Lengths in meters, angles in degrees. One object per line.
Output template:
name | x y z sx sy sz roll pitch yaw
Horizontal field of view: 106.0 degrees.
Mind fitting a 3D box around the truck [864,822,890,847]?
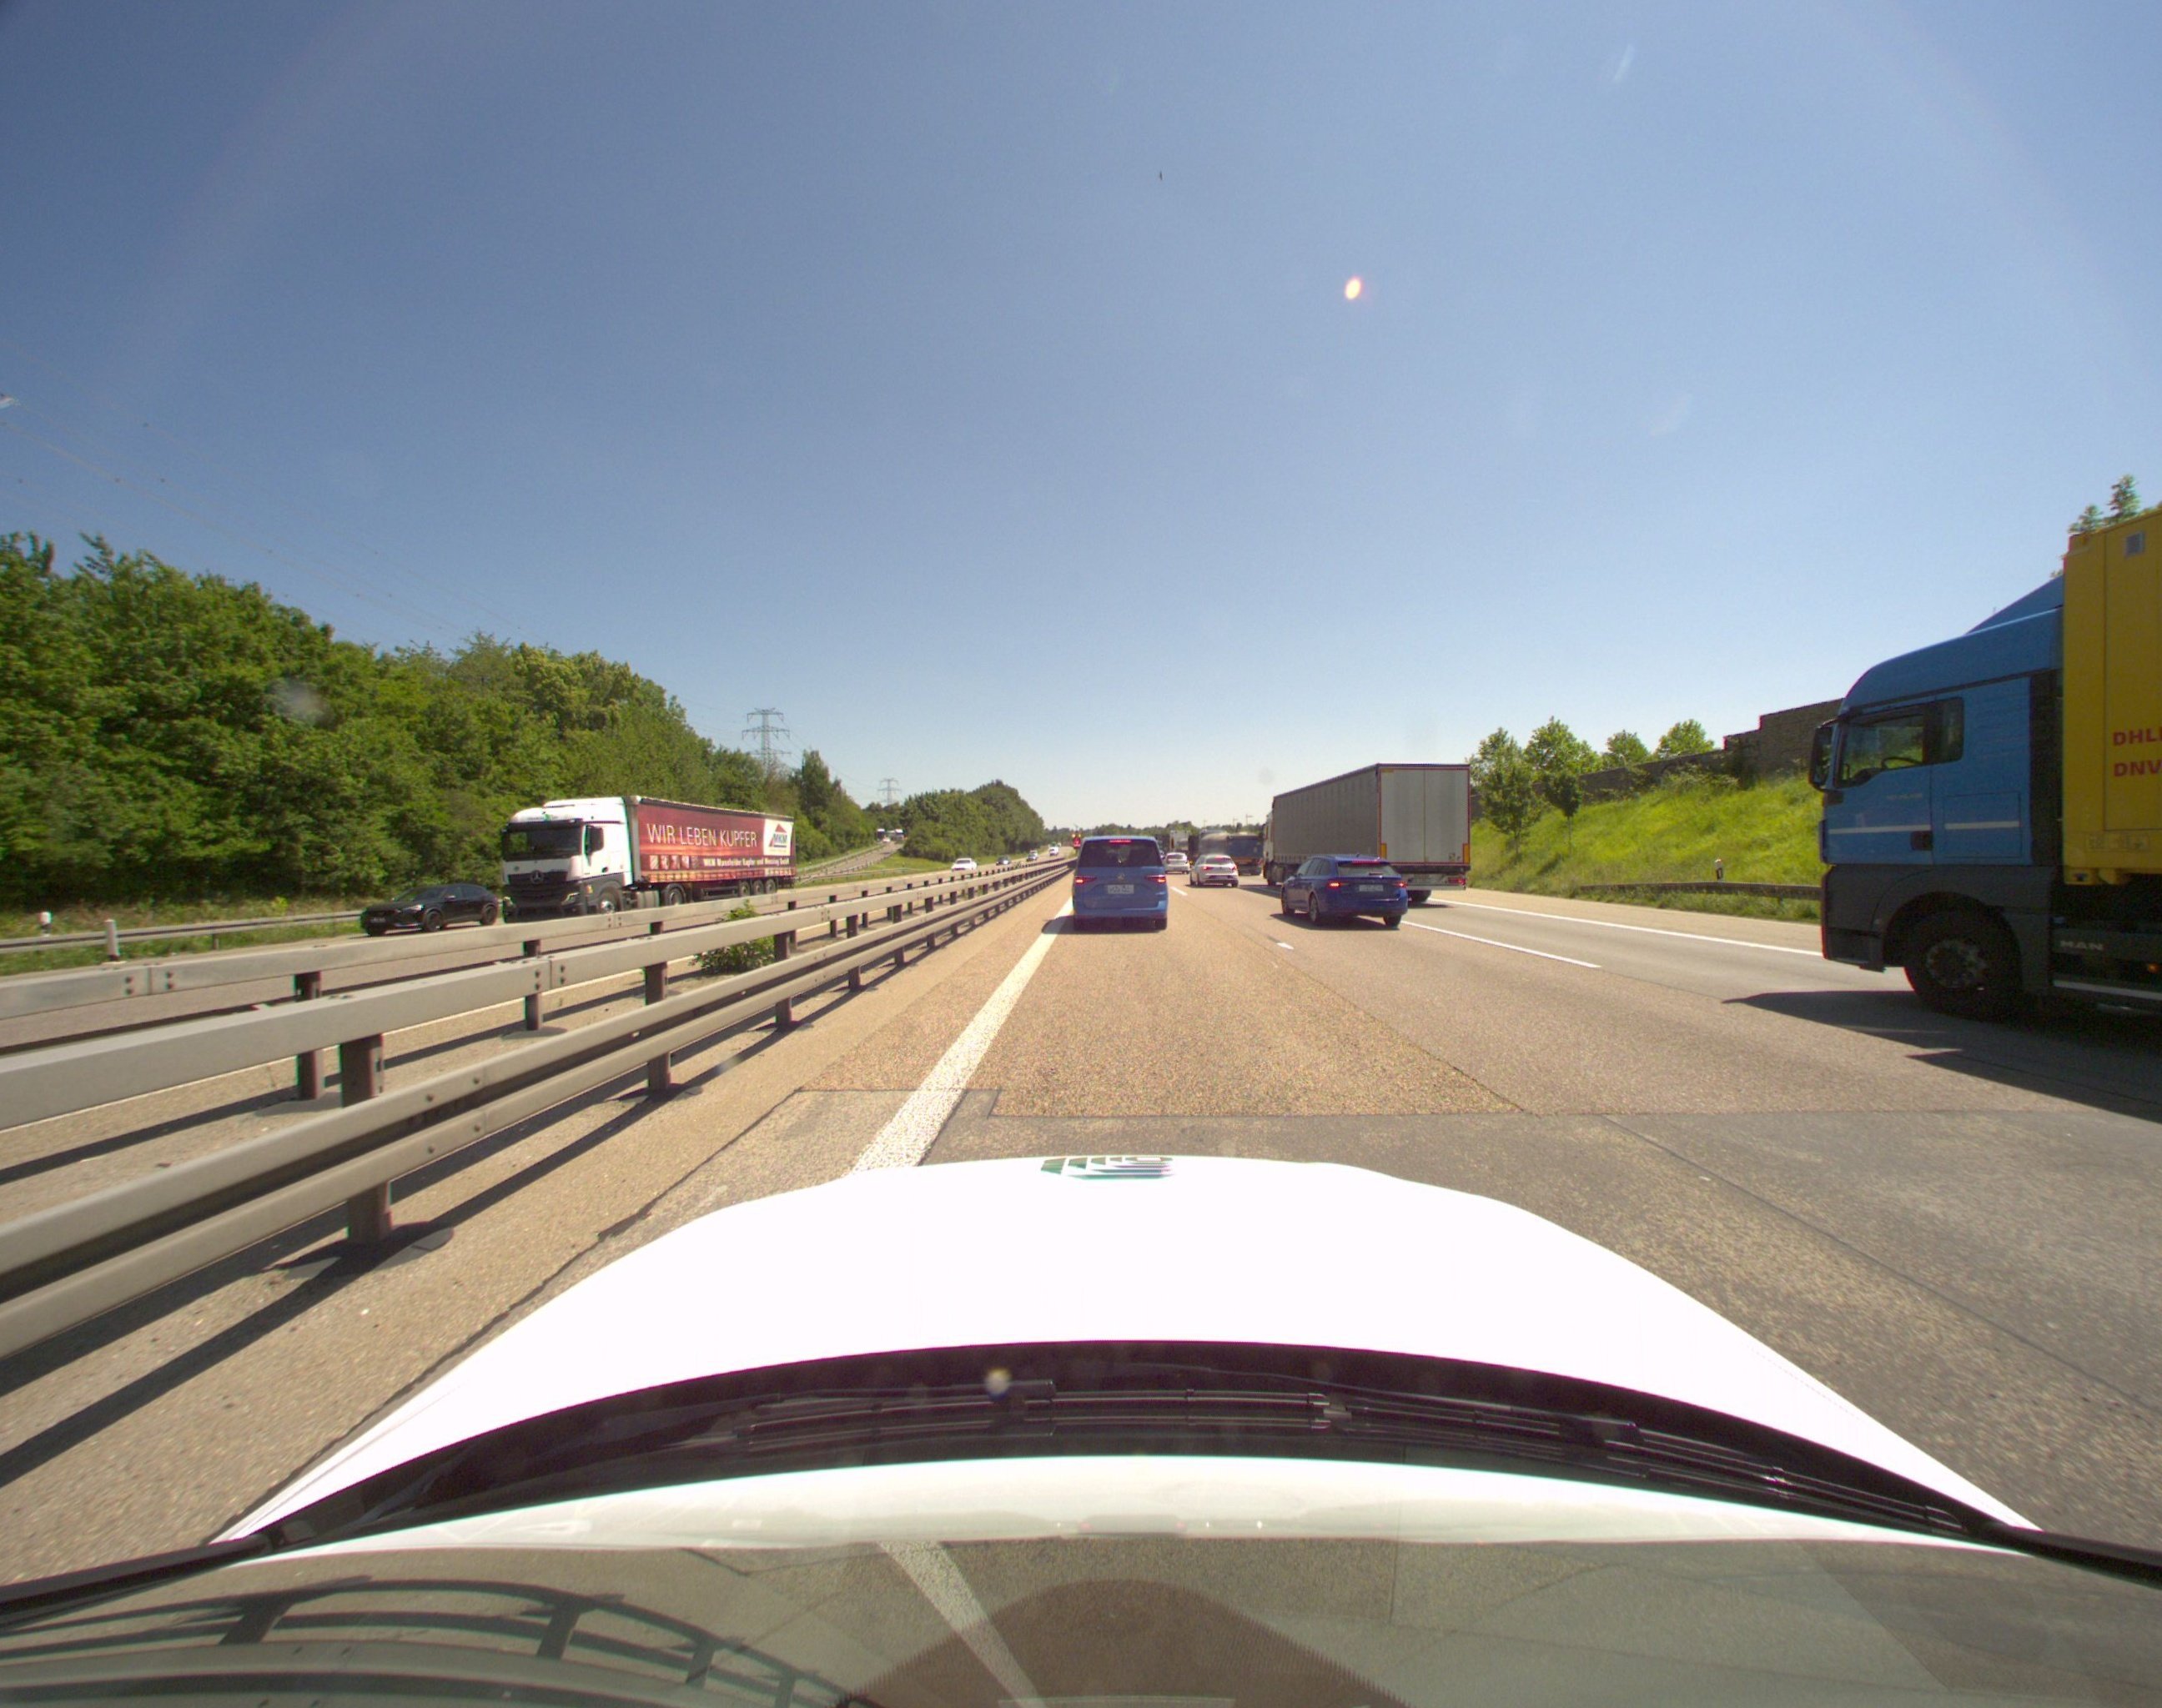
truck | -63.066 -6.052 251.557 4.699 7.228 13.514 1 -1 -29

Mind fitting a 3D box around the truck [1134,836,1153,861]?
truck | 12.341 -0.996 161.459 3.057 4.920 10.692 0 -1 1

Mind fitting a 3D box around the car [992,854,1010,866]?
car | -10.360 0.729 105.585 1.870 1.446 4.145 -3 -1 0

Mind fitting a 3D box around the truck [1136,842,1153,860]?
truck | 6.955 -0.317 89.268 1.719 1.857 4.001 0 -1 1

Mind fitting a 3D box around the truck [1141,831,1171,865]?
truck | 12.205 -0.817 133.713 3.609 5.213 15.686 0 -1 0

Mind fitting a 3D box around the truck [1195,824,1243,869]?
truck | 10.691 -0.576 63.546 2.733 3.311 7.136 0 1 2

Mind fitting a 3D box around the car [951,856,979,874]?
car | -10.410 0.990 73.282 1.844 1.467 4.304 -2 -1 0

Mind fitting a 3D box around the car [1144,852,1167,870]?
car | 6.419 0.599 70.425 1.774 1.524 4.001 0 -1 1

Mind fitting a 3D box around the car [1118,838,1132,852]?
car | 8.703 -1.818 162.326 2.541 2.717 5.622 0 -1 1

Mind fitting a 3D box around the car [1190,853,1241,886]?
car | 5.983 0.656 36.619 1.860 1.361 4.003 0 0 3

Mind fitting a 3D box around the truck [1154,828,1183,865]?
truck | 12.476 -0.978 116.265 3.646 5.180 5.709 0 -1 1

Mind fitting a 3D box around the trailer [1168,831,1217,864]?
trailer | 11.254 -0.540 84.160 3.632 3.079 15.782 0 -1 3

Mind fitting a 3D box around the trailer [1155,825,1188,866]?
trailer | 12.068 -1.021 109.867 3.632 5.136 13.083 0 -1 3

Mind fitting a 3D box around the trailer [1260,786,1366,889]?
trailer | 9.856 -0.675 35.351 2.913 4.044 6.413 -1 0 2

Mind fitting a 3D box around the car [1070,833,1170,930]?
car | 0.841 0.545 17.423 1.894 1.838 4.003 0 -1 3

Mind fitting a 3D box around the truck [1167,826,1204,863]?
truck | 11.838 -0.987 92.976 3.611 4.094 7.529 0 -1 3

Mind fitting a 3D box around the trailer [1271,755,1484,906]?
trailer | 9.654 -0.645 28.986 2.951 4.049 13.757 -1 0 2

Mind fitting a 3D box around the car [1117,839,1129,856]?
car | 13.218 -2.016 254.975 3.210 5.257 8.137 0 -1 -2

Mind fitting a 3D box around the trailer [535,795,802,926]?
trailer | -15.425 0.160 32.828 2.753 3.976 14.687 -3 0 2

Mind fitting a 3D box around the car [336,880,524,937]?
car | -21.211 1.701 26.922 1.988 1.576 5.272 0 -1 -1

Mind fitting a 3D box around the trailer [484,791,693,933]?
trailer | -15.613 0.208 26.472 2.747 3.976 6.134 -3 0 1

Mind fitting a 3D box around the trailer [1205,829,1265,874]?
trailer | 10.483 -0.212 56.367 2.733 2.836 9.120 0 1 2

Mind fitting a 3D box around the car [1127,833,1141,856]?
car | 12.748 -2.198 197.136 3.206 5.257 8.147 0 -1 2

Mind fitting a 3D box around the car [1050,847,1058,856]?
car | -8.006 -0.621 238.261 2.045 2.651 5.839 0 -1 1

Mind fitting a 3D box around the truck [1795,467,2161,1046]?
truck | 8.985 -0.691 3.869 2.755 4.109 9.957 0 0 2

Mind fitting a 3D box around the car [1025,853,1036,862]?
car | -8.692 0.608 140.410 1.767 1.631 3.951 0 -1 0

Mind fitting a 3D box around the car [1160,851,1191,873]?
car | 6.658 0.568 57.739 1.833 1.454 4.001 0 -1 2

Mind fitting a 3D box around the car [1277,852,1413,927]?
car | 5.604 0.699 17.878 1.699 1.441 4.430 0 -1 2
